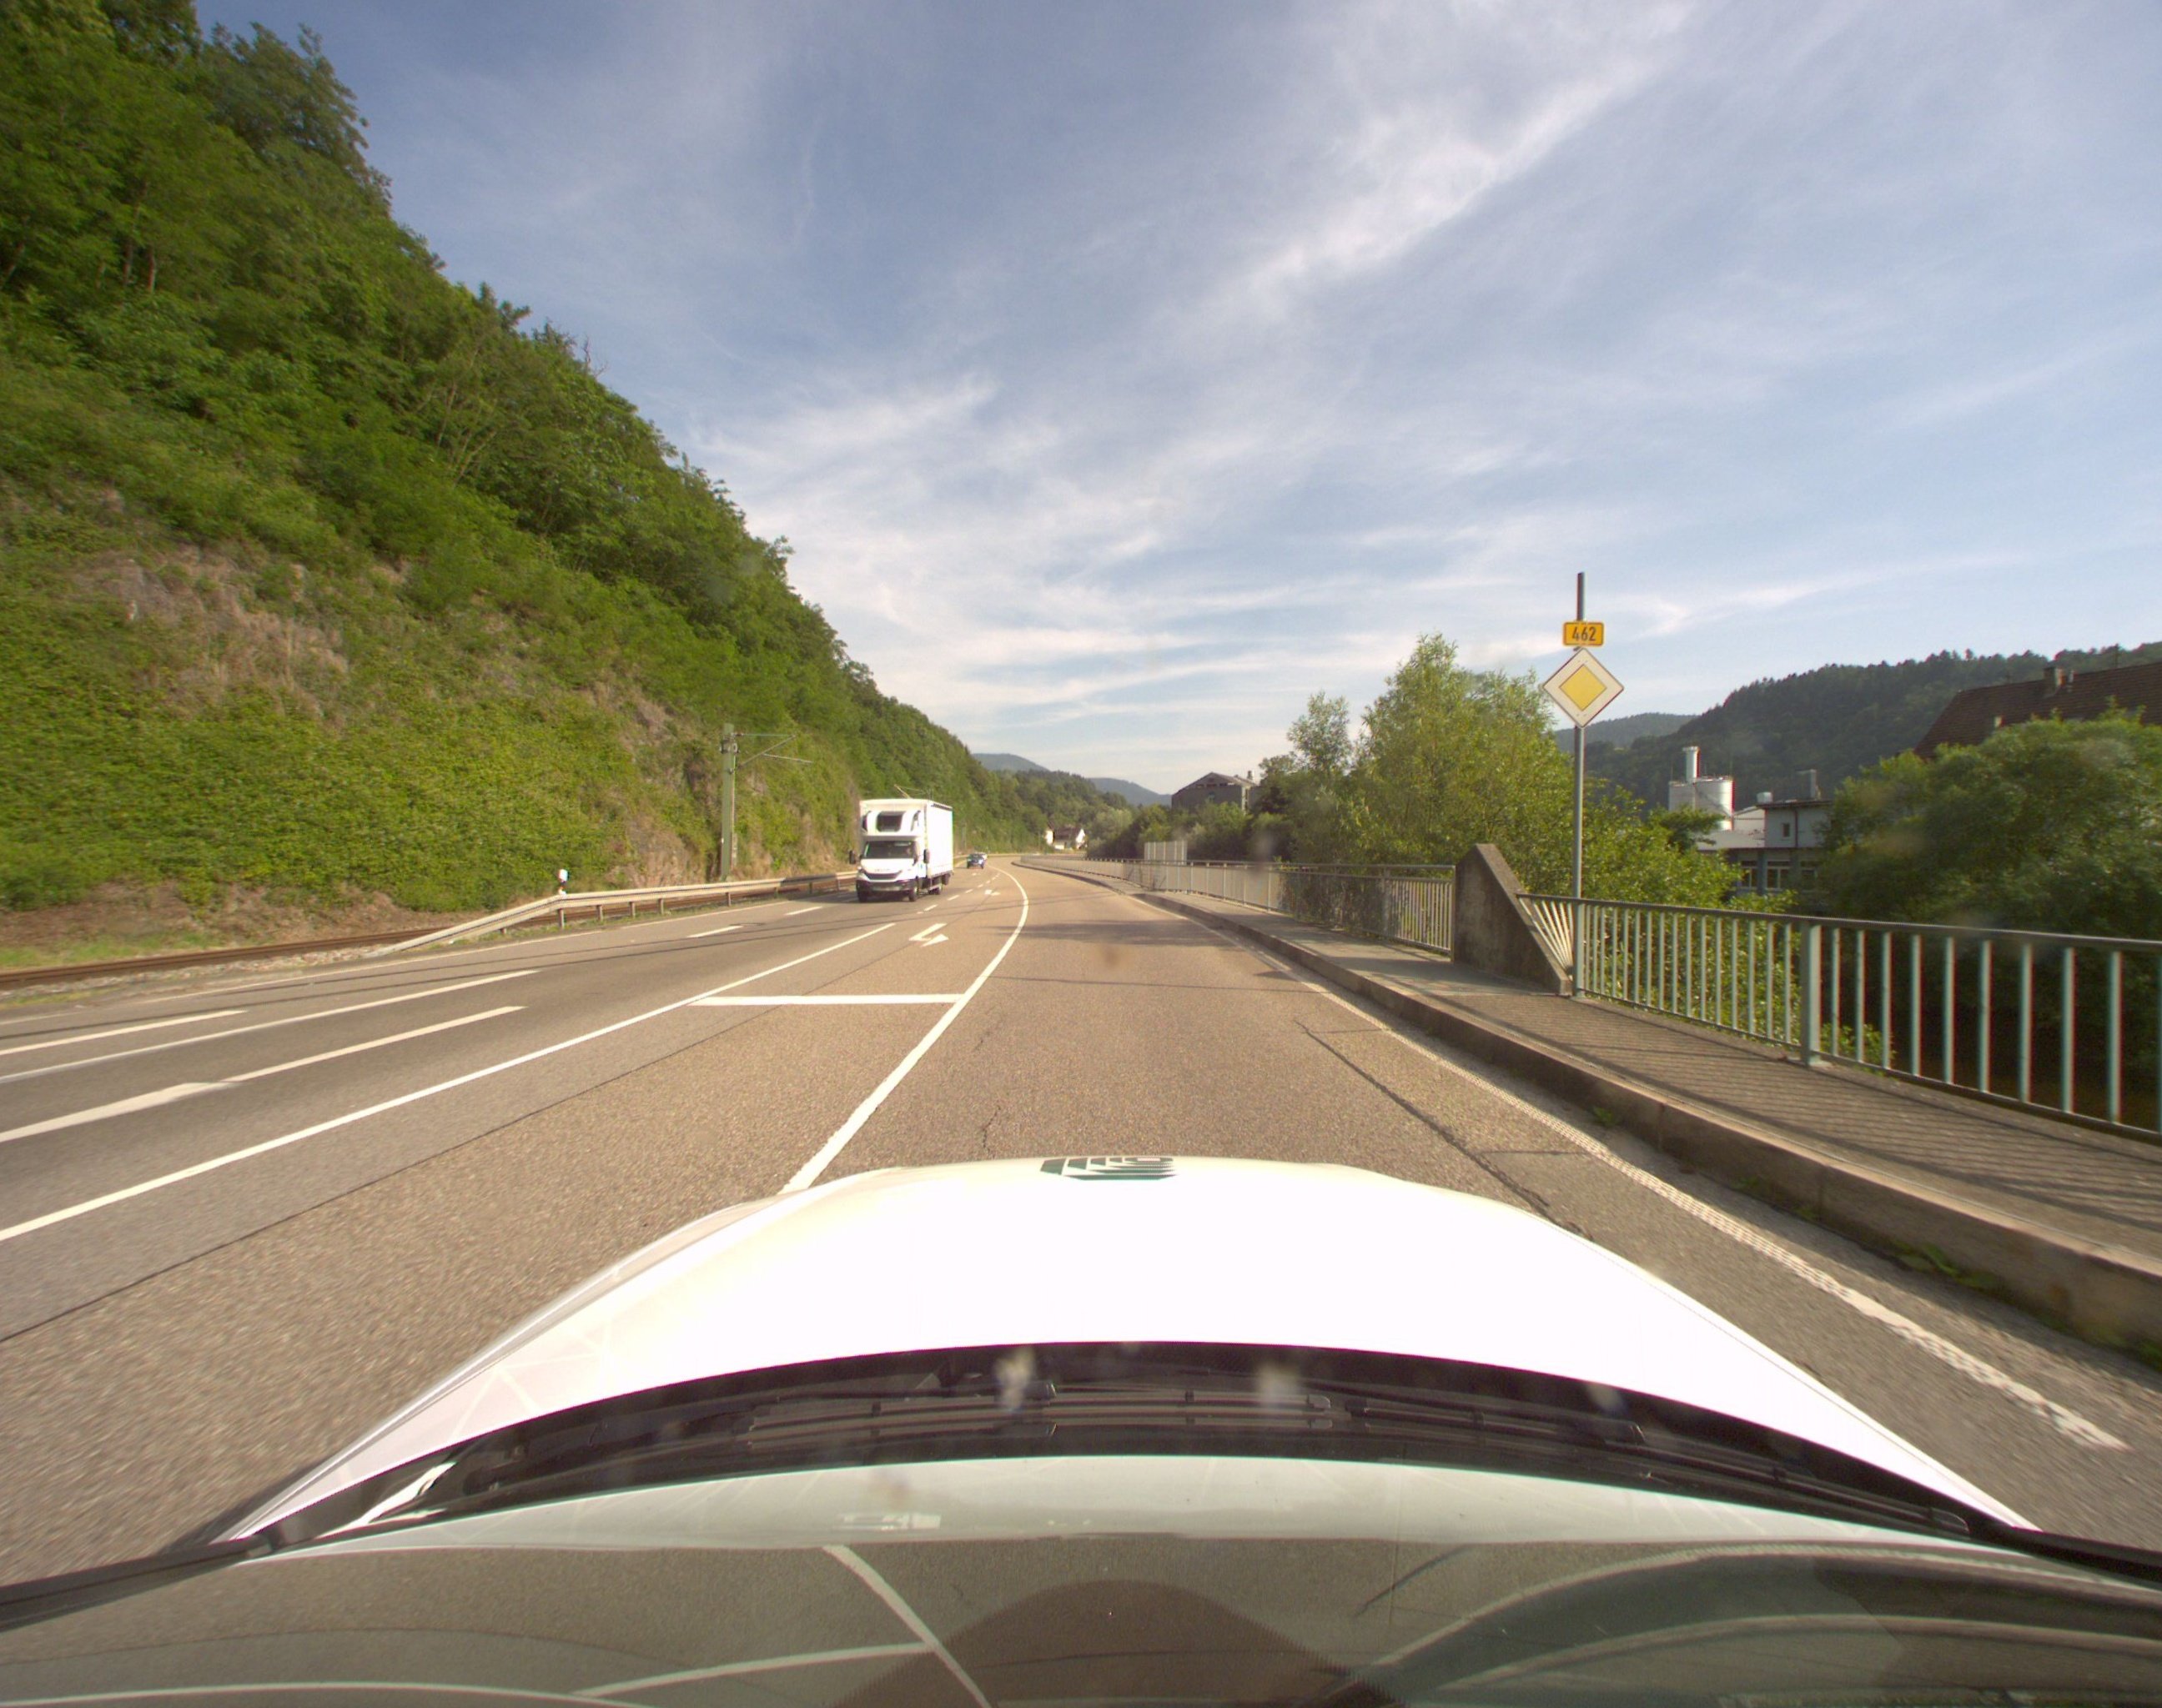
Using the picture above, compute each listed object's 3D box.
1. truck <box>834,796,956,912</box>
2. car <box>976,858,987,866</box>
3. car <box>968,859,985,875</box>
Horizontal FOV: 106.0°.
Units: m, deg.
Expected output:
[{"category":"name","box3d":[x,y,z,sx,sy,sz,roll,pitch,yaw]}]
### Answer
[{"category":"truck","box3d":[-6.867,-0.002,31.528,2.890,3.799,8.886,-1,0,-2]},{"category":"car","box3d":[-19.382,1.544,158.183,2.061,1.439,4.675,-1,-1,-6]},{"category":"car","box3d":[-11.048,1.367,85.722,1.717,1.570,4.123,-1,-1,-8]}]
